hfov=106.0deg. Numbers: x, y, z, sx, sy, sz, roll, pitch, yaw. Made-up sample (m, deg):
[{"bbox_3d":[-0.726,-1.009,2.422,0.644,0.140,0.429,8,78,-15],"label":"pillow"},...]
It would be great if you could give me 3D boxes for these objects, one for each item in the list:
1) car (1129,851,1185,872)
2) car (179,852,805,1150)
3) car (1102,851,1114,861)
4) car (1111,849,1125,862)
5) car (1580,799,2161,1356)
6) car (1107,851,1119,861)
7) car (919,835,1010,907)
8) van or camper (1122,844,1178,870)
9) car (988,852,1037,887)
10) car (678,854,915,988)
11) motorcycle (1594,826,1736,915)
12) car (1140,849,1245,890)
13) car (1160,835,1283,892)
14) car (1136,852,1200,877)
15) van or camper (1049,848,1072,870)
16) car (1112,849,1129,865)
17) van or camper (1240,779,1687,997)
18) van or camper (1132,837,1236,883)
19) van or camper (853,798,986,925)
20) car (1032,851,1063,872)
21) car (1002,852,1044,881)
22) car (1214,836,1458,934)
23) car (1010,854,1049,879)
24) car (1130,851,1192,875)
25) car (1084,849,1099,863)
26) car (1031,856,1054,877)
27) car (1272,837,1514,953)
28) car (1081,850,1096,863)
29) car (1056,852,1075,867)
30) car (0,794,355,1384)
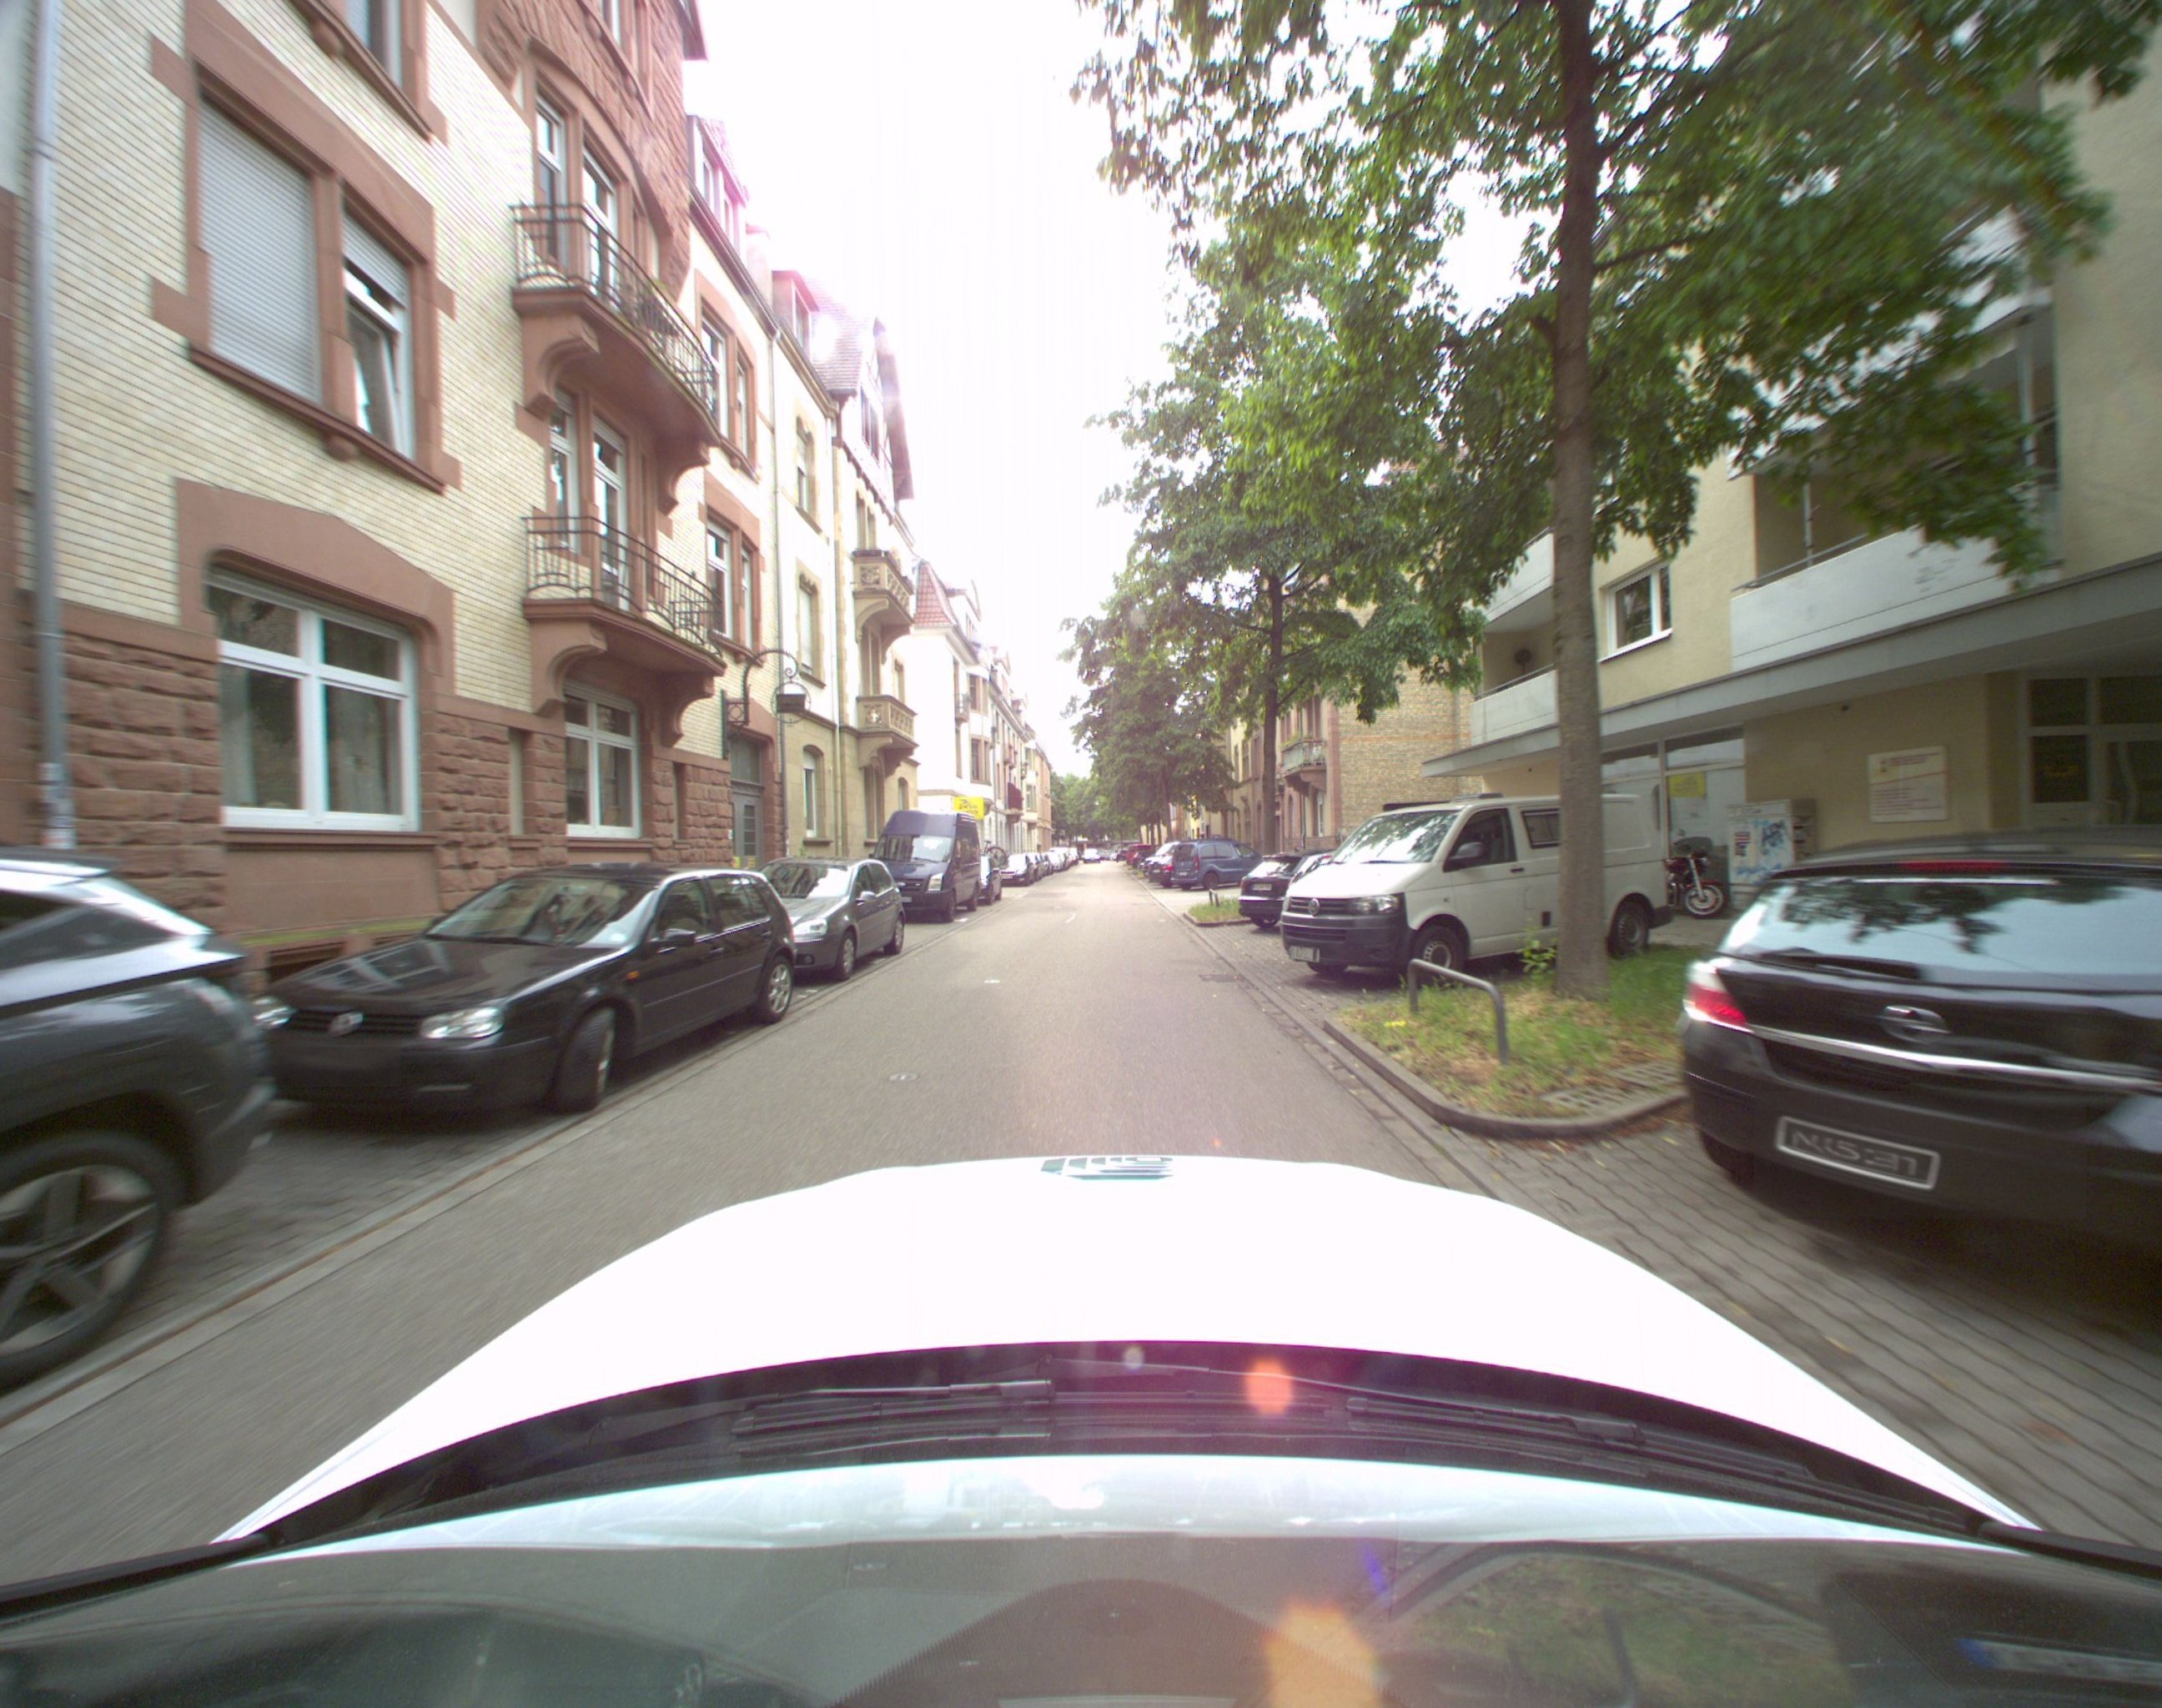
[{"bbox_3d":[5.396,0.513,57.893,3.753,1.465,1.727,-1,0,-4],"label":"car"},{"bbox_3d":[-3.612,0.765,6.057,1.628,1.473,4.001,0,-1,2],"label":"car"},{"bbox_3d":[4.561,0.393,137.536,1.863,1.628,4.000,-2,-1,1],"label":"car"},{"bbox_3d":[5.268,0.280,117.055,1.986,1.794,4.000,0,-1,1],"label":"car"},{"bbox_3d":[4.357,0.535,3.700,4.021,1.444,1.824,-4,0,-30],"label":"car"},{"bbox_3d":[5.168,0.311,131.606,1.863,1.530,4.001,-1,0,1],"label":"car"},{"bbox_3d":[-3.514,0.477,25.518,1.986,2.013,4.893,-1,0,2],"label":"car"},{"bbox_3d":[5.731,0.208,67.596,4.169,2.085,1.936,-1,0,-27],"label":"van or camper"},{"bbox_3d":[-3.057,0.673,37.101,1.783,1.480,4.023,-1,0,1],"label":"car"},{"bbox_3d":[-3.537,0.755,10.952,1.661,1.473,4.001,0,-1,2],"label":"car"},{"bbox_3d":[9.570,0.247,13.480,0.675,1.301,2.253,-4,0,1],"label":"motorcycle"},{"bbox_3d":[4.661,0.611,33.924,4.035,1.559,1.867,-2,0,-30],"label":"car"},{"bbox_3d":[5.364,0.360,31.082,4.197,1.869,1.981,-4,-1,-28],"label":"car"},{"bbox_3d":[5.393,0.637,50.704,3.702,1.408,1.573,-2,0,-4],"label":"car"},{"bbox_3d":[-1.898,0.485,76.878,1.874,1.967,4.409,-1,0,2],"label":"van or camper"},{"bbox_3d":[5.018,0.347,104.409,1.986,2.013,4.001,1,0,1],"label":"car"},{"bbox_3d":[4.494,0.281,9.578,4.750,1.994,1.984,-3,-2,-23],"label":"van or camper"},{"bbox_3d":[5.055,0.271,39.861,4.804,2.137,2.036,-1,0,-30],"label":"van or camper"},{"bbox_3d":[-3.720,0.144,19.842,2.000,2.651,5.318,-1,0,2],"label":"van or camper"},{"bbox_3d":[-2.411,0.508,60.300,1.986,1.475,4.002,-1,0,2],"label":"car"},{"bbox_3d":[-3.035,0.643,43.218,1.822,1.426,3.802,1,0,1],"label":"car"},{"bbox_3d":[4.826,0.519,15.288,4.328,1.392,1.905,-4,0,-30],"label":"car"},{"bbox_3d":[-3.013,0.716,48.085,1.940,1.403,4.001,1,0,1],"label":"car"},{"bbox_3d":[5.199,0.582,53.235,3.753,1.465,1.727,-1,0,-4],"label":"car"},{"bbox_3d":[1.275,0.293,100.429,1.814,1.645,3.754,0,-1,1],"label":"car"},{"bbox_3d":[-2.476,0.769,52.668,1.205,1.309,3.261,-1,0,1],"label":"car"},{"bbox_3d":[4.861,0.559,12.627,3.435,1.441,1.655,-3,0,-30],"label":"car"},{"bbox_3d":[1.025,0.278,110.470,1.900,1.678,4.003,1,0,3],"label":"car"},{"bbox_3d":[-1.710,0.545,89.347,1.779,1.455,3.889,-5,0,2],"label":"car"},{"bbox_3d":[-3.940,0.667,1.180,1.779,1.646,4.363,0,0,1],"label":"car"}]
